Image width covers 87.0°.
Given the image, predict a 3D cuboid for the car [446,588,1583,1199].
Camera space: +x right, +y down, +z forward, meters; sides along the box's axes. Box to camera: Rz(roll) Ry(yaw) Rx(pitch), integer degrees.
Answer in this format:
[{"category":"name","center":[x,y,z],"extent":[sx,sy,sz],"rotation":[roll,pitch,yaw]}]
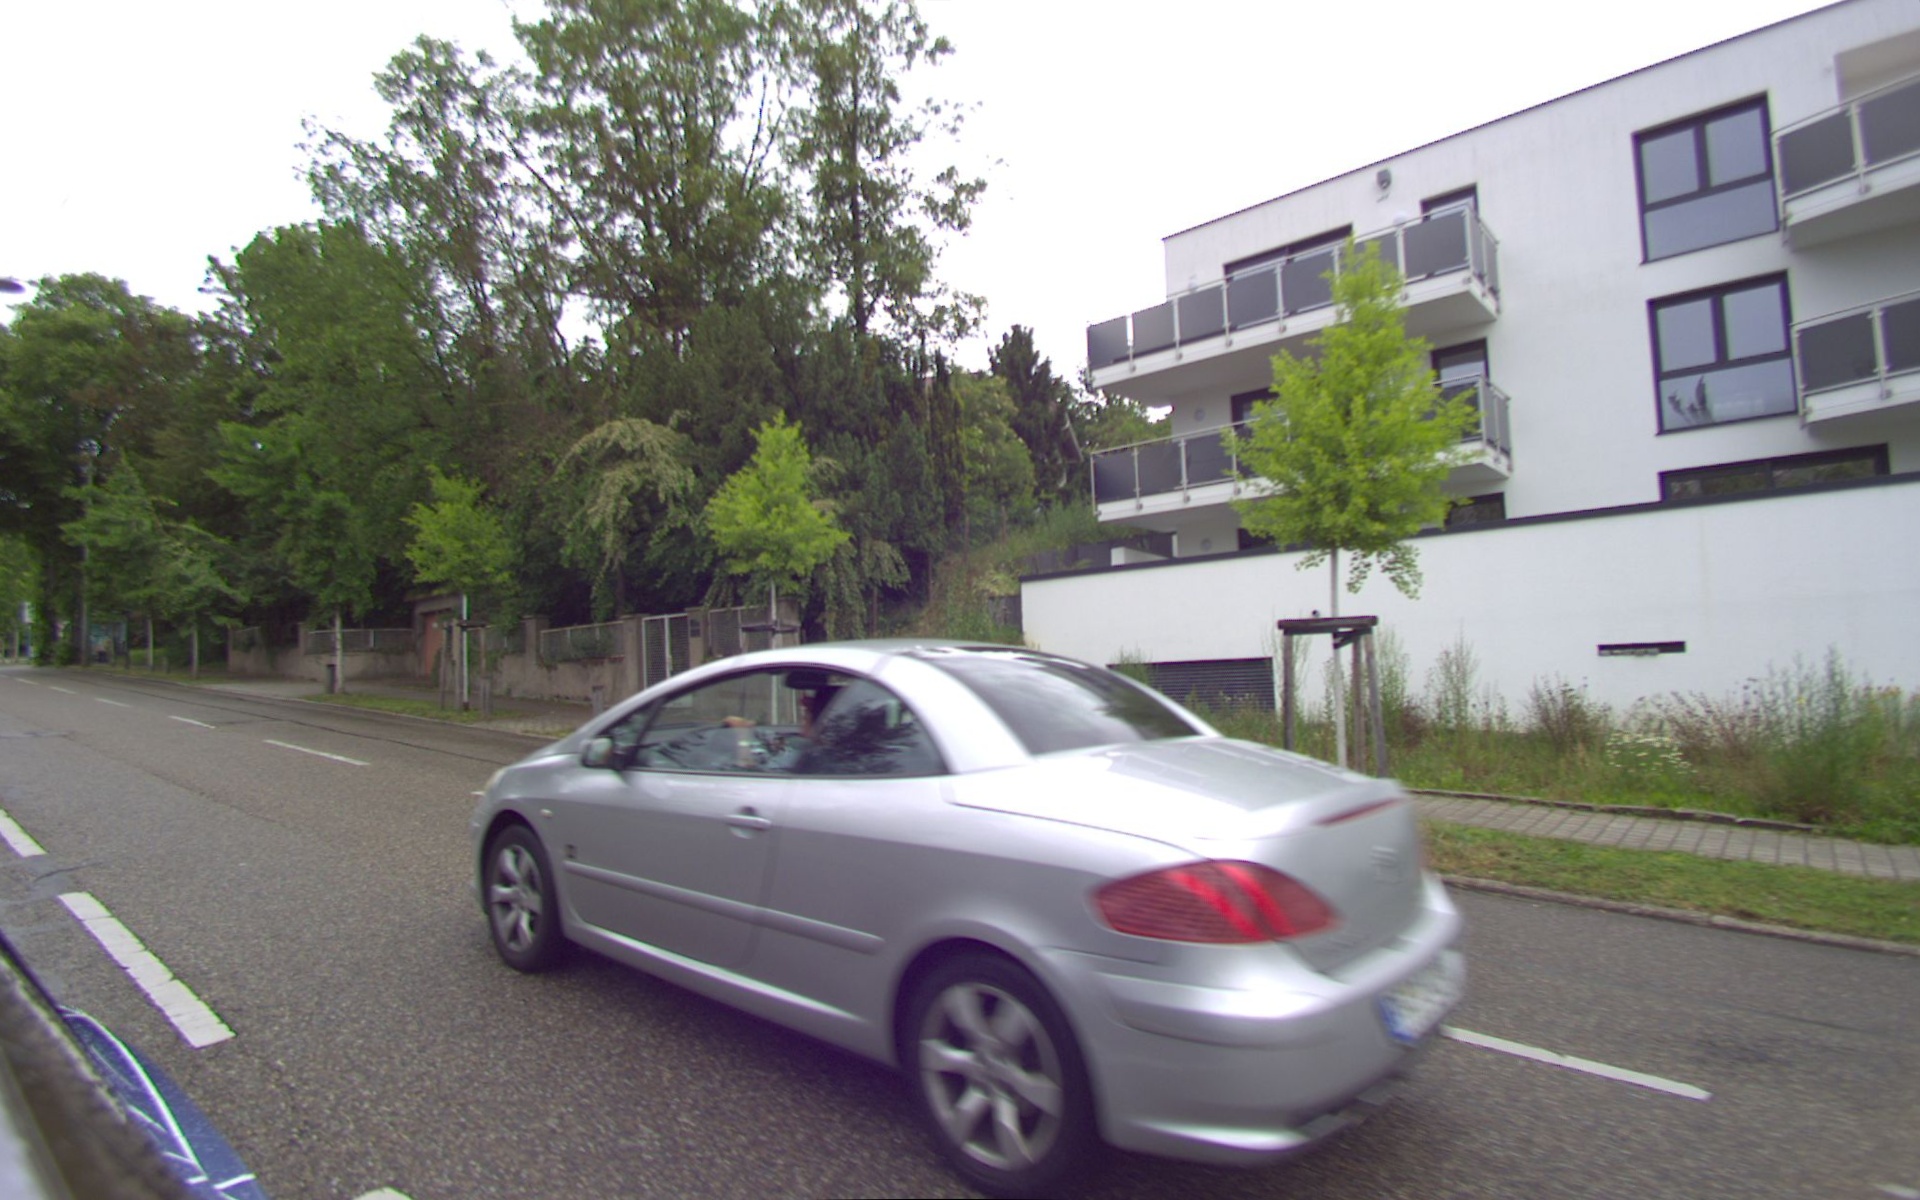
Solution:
[{"category":"car","center":[-0.152,0.805,3.779],"extent":[3.998,1.497,1.743],"rotation":[-1,-4,41]}]
